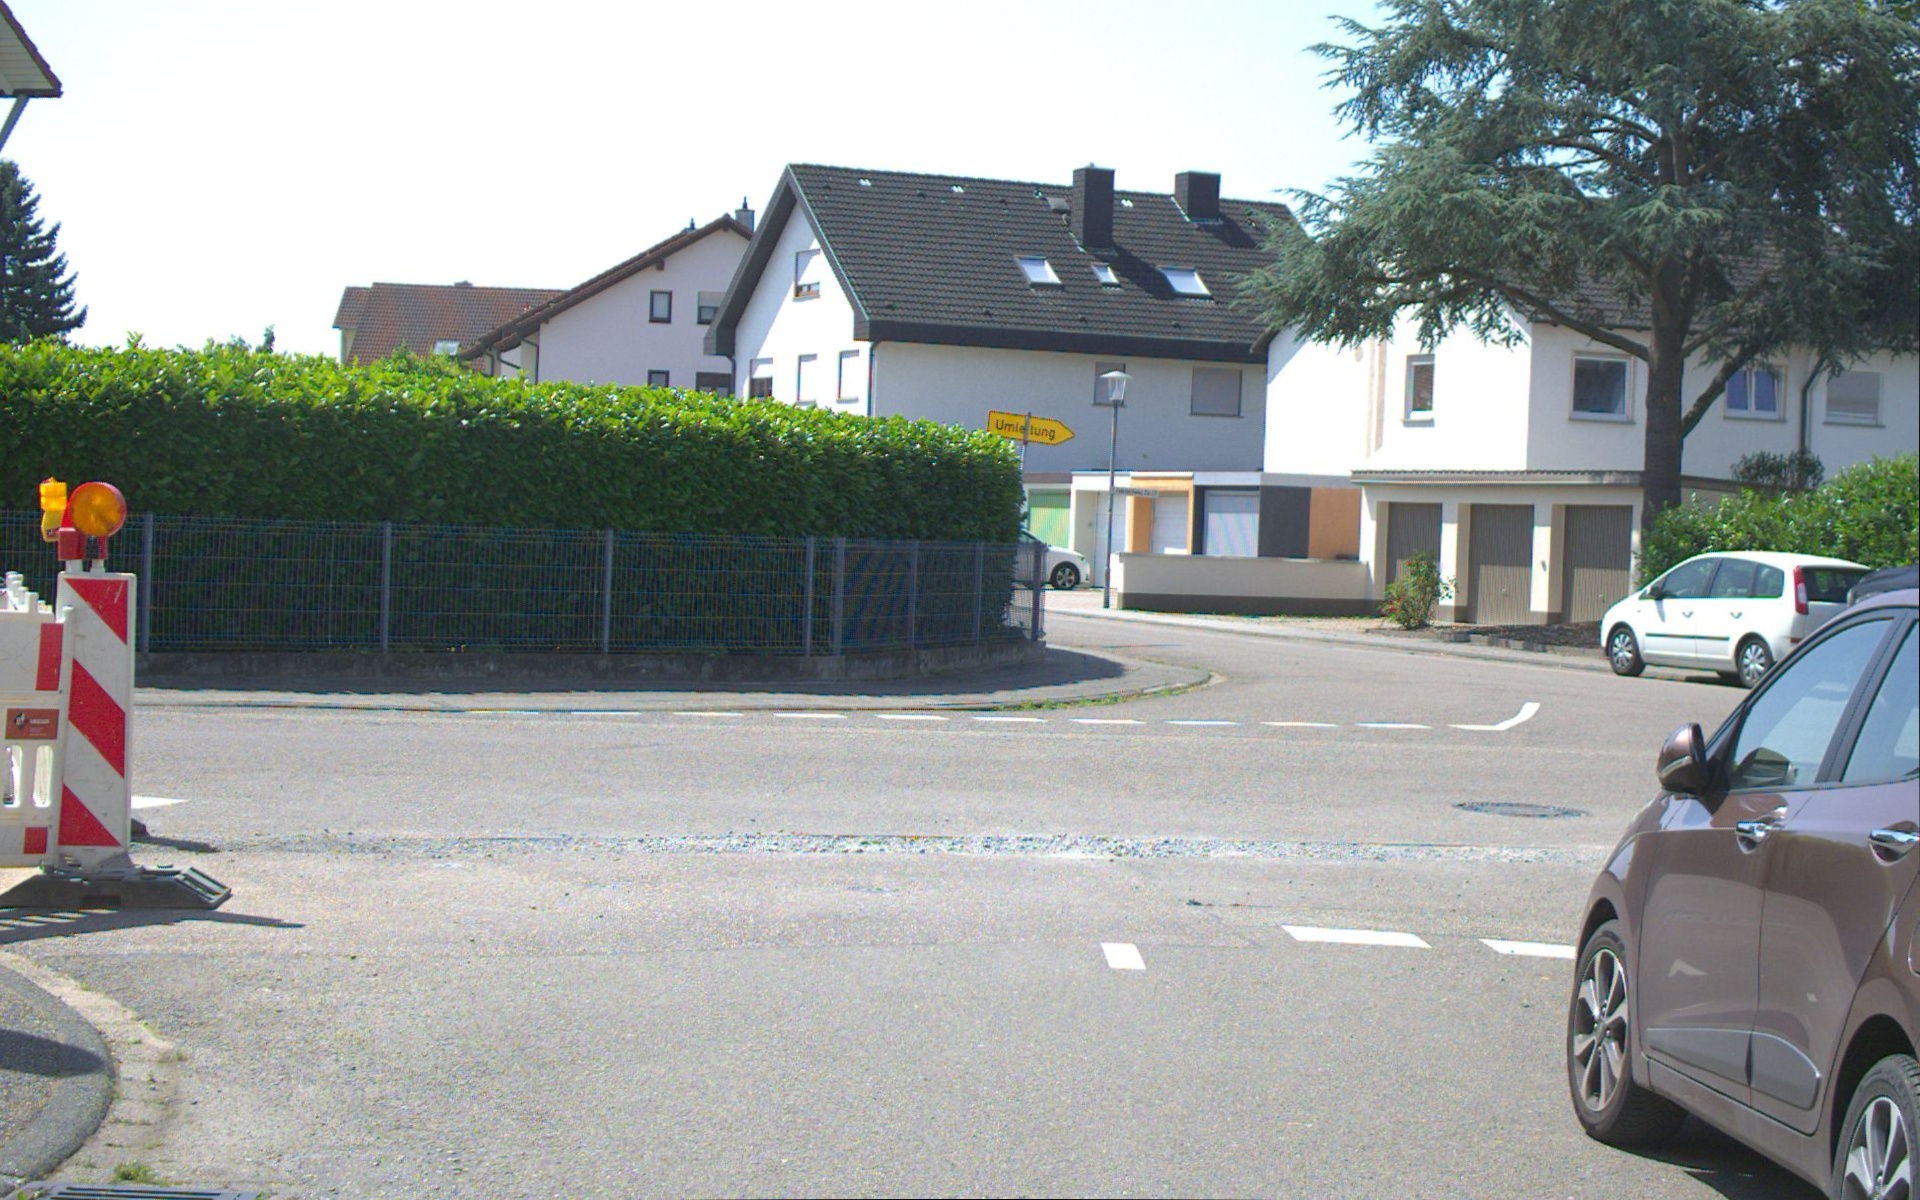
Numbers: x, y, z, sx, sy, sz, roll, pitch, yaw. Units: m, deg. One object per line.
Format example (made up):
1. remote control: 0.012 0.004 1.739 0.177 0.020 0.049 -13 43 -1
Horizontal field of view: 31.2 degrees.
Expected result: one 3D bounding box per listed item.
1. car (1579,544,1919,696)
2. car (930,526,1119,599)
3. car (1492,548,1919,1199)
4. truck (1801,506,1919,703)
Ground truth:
1. car: 9.357 0.208 40.937 1.797 1.557 4.145 2 2 -25
2. car: 1.381 -0.812 73.888 3.598 1.403 1.784 2 2 -22
3. car: 2.530 0.741 7.854 1.712 1.527 4.036 6 1 -2
4. truck: 11.405 0.132 34.983 2.363 2.007 5.714 2 1 -25
